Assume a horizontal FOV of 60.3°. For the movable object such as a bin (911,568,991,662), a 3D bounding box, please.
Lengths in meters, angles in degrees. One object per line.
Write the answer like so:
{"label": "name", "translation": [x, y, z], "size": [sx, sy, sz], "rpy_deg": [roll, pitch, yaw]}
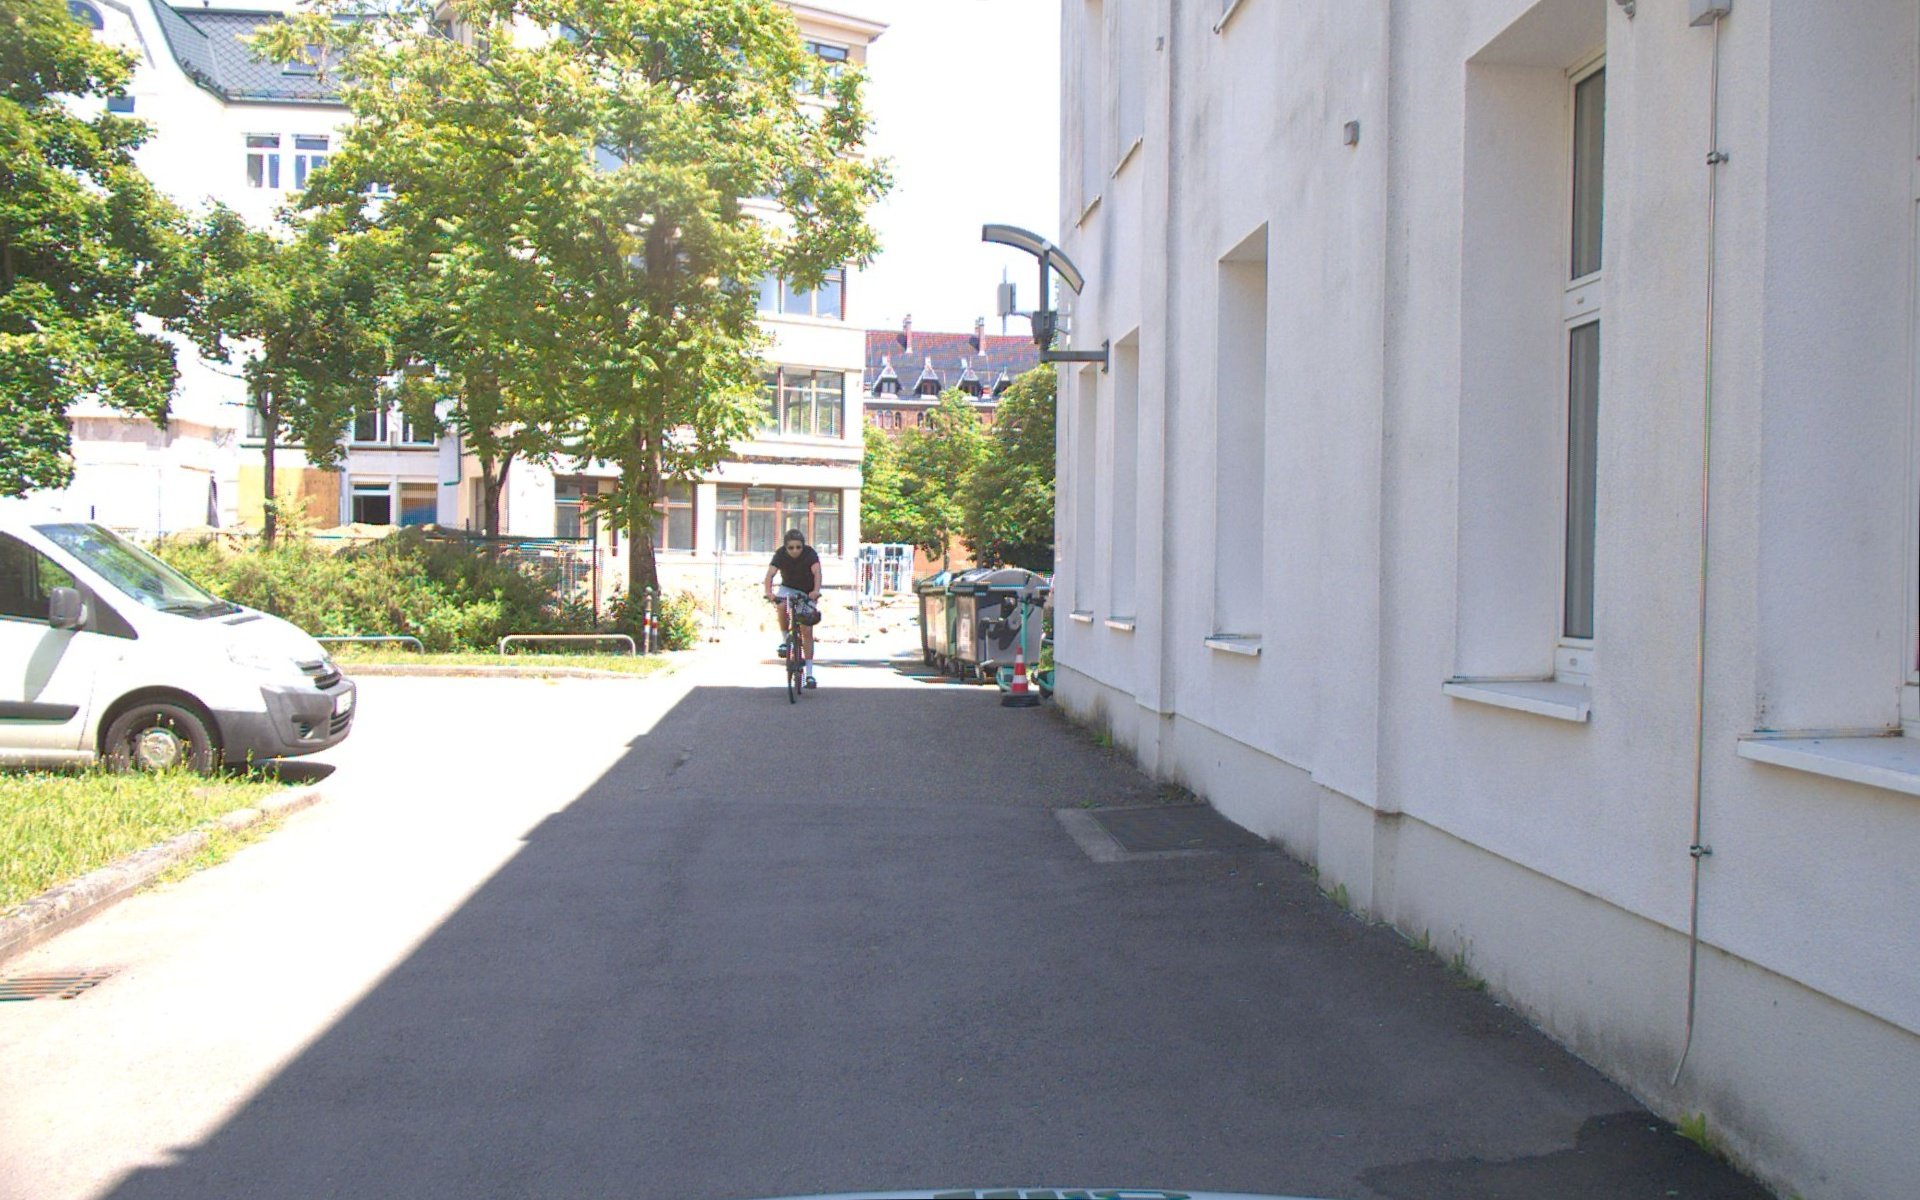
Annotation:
{"label": "movable object such as a bin", "translation": [-0.138, 0.250, 27.340], "size": [1.154, 1.495, 1.334], "rpy_deg": [1, 0, 6]}

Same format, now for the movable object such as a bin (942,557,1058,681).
{"label": "movable object such as a bin", "translation": [0.495, 0.244, 21.279], "size": [1.135, 1.532, 1.457], "rpy_deg": [1, 0, -14]}

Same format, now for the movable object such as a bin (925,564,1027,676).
{"label": "movable object such as a bin", "translation": [0.208, 0.280, 22.992], "size": [1.158, 1.495, 1.308], "rpy_deg": [1, 0, -11]}

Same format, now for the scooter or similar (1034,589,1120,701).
{"label": "scooter or similar", "translation": [1.287, 0.478, 18.389], "size": [0.457, 1.194, 1.248], "rpy_deg": [0, 0, -22]}

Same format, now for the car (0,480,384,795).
{"label": "car", "translation": [-6.520, 0.242, 11.134], "size": [4.701, 1.945, 1.995], "rpy_deg": [0, -1, -10]}

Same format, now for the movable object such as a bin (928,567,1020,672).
{"label": "movable object such as a bin", "translation": [0.194, 0.287, 24.380], "size": [1.157, 1.495, 1.309], "rpy_deg": [1, 0, -9]}

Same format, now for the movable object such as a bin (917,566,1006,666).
{"label": "movable object such as a bin", "translation": [0.004, 0.245, 25.809], "size": [1.157, 1.495, 1.308], "rpy_deg": [1, 0, -10]}

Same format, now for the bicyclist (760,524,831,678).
{"label": "bicyclist", "translation": [-1.819, 0.009, 18.167], "size": [0.709, 1.637, 0.976], "rpy_deg": [1, 1, -8]}

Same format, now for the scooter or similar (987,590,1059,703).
{"label": "scooter or similar", "translation": [0.682, 0.493, 18.346], "size": [0.455, 1.194, 1.352], "rpy_deg": [0, 0, -13]}

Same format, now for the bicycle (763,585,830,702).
{"label": "bicycle", "translation": [-1.823, 0.452, 18.227], "size": [0.632, 1.194, 1.901], "rpy_deg": [1, 1, -9]}
